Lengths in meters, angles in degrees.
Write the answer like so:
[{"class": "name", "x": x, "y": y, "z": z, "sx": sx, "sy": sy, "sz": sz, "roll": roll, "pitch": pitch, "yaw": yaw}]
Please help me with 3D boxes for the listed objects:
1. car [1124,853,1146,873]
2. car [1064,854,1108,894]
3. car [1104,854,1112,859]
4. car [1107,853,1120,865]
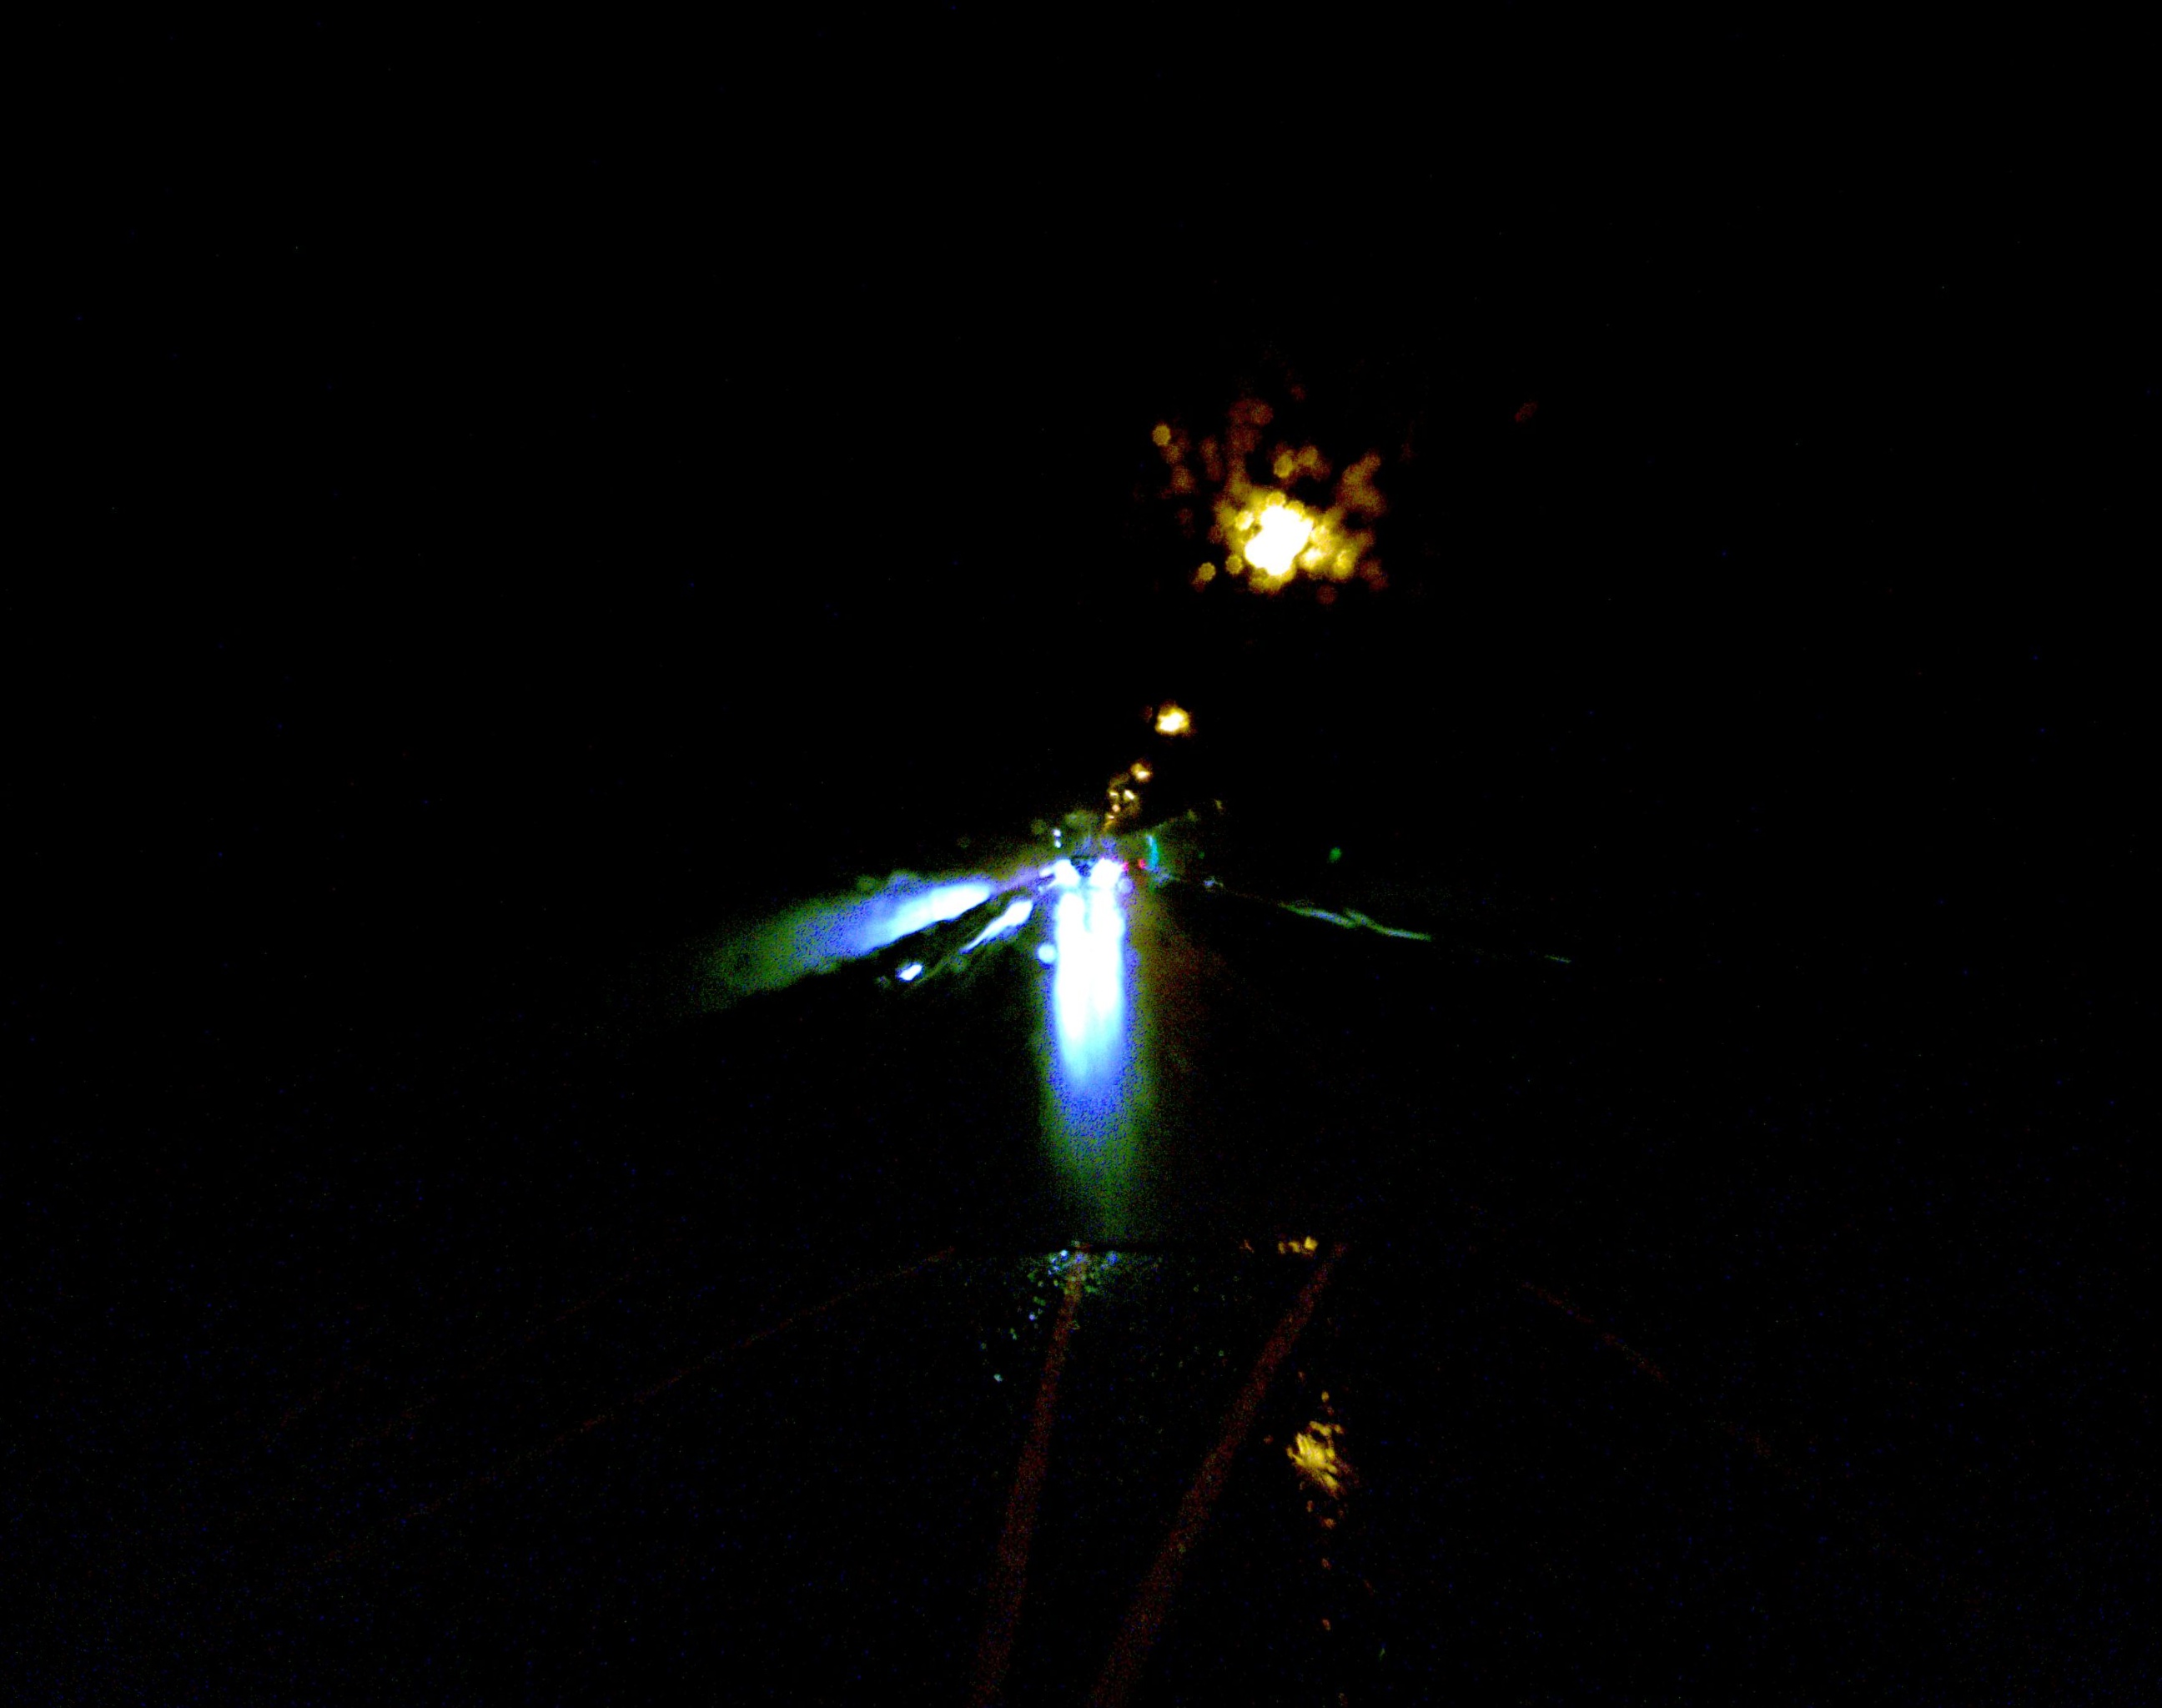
[{"class": "car", "x": 4.343, "y": 0.722, "z": 61.679, "sx": 1.602, "sy": 1.604, "sz": 3.996, "roll": 0, "pitch": 0, "yaw": 1}, {"class": "car", "x": 0.248, "y": 0.833, "z": 33.756, "sx": 1.829, "sy": 1.650, "sz": 3.929, "roll": 1, "pitch": 0, "yaw": 1}, {"class": "car", "x": 7.420, "y": 0.753, "z": 209.600, "sx": 1.998, "sy": 1.410, "sz": 4.713, "roll": 1, "pitch": 0, "yaw": 1}, {"class": "car", "x": 5.439, "y": 0.822, "z": 128.166, "sx": 2.090, "sy": 2.002, "sz": 4.560, "roll": 0, "pitch": 0, "yaw": 1}]
